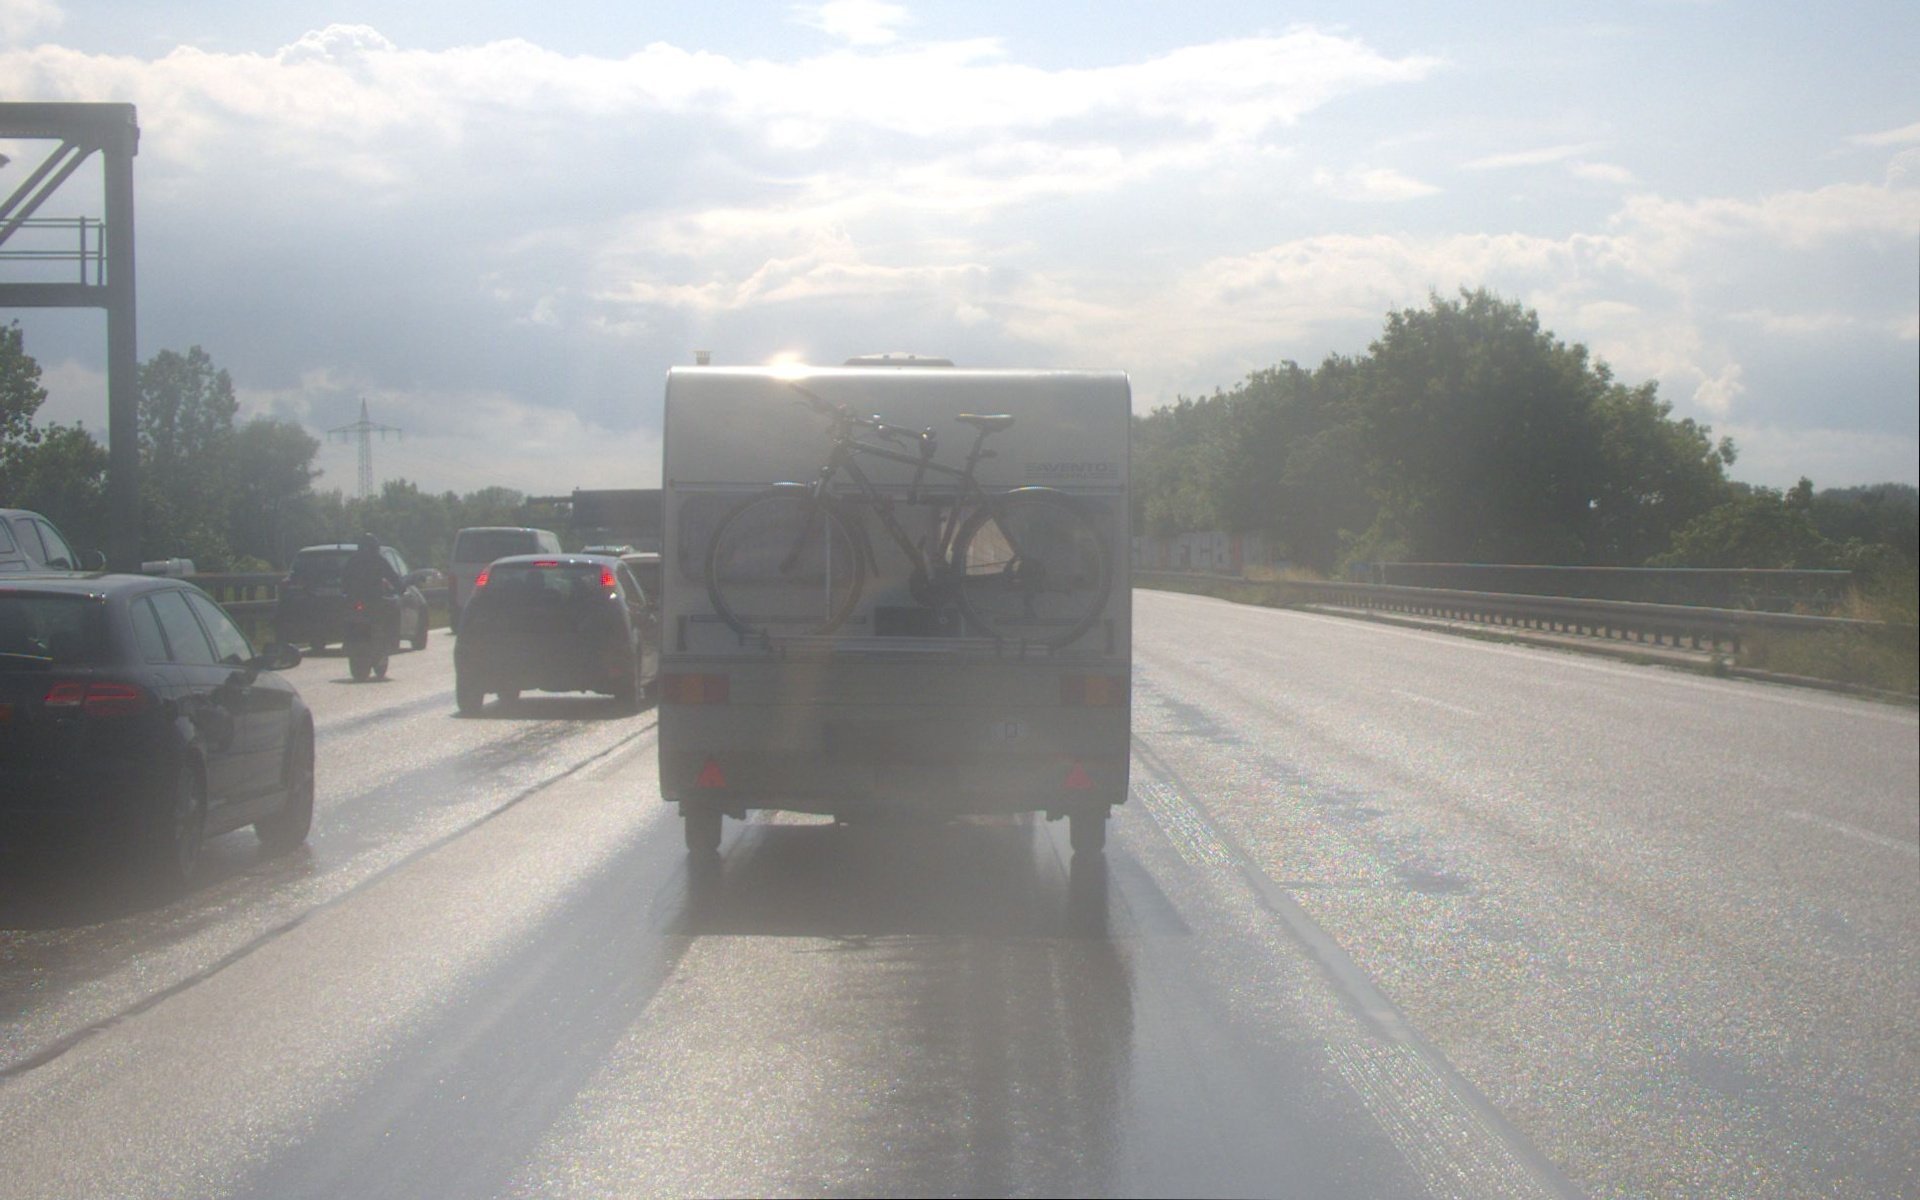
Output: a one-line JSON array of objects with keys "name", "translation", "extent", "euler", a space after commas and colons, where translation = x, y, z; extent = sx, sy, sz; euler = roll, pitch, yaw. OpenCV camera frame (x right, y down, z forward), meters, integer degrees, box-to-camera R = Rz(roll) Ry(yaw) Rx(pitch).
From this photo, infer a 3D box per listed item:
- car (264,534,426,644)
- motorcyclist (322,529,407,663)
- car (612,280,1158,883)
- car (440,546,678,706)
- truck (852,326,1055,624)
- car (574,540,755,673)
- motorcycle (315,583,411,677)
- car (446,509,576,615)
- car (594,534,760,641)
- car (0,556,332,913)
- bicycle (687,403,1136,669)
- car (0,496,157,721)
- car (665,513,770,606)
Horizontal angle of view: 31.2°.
[{"name": "car", "translation": [-9.131, -0.196, 51.307], "extent": [1.783, 1.573, 3.916], "euler": [0, 1, -1]}, {"name": "motorcyclist", "translation": [-6.908, -0.055, 39.916], "extent": [0.796, 1.532, 1.093], "euler": [0, 1, 0]}, {"name": "car", "translation": [-0.299, -0.109, 17.311], "extent": [2.410, 2.665, 4.000], "euler": [1, 1, 1]}, {"name": "car", "translation": [-3.809, 0.208, 33.220], "extent": [1.758, 1.438, 4.000], "euler": [0, 1, 1]}, {"name": "truck", "translation": [-0.159, -2.026, 58.760], "extent": [3.146, 4.610, 10.736], "euler": [0, 1, -1]}, {"name": "car", "translation": [-3.479, 0.046, 41.071], "extent": [1.863, 1.503, 4.000], "euler": [0, 1, -1]}, {"name": "motorcycle", "translation": [-6.902, 0.335, 39.836], "extent": [0.690, 1.024, 2.388], "euler": [0, 1, 0]}, {"name": "car", "translation": [-8.515, -0.742, 65.585], "extent": [1.848, 1.927, 5.016], "euler": [0, 1, 0]}, {"name": "car", "translation": [-3.990, -0.206, 49.098], "extent": [1.987, 1.453, 3.826], "euler": [0, 1, 1]}, {"name": "car", "translation": [-4.176, 0.525, 16.084], "extent": [1.750, 1.428, 4.054], "euler": [0, 1, 0]}, {"name": "bicycle", "translation": [-0.206, -0.280, 15.089], "extent": [1.934, 1.137, 0.384], "euler": [1, 0, 2]}, {"name": "car", "translation": [-8.681, 0.022, 30.393], "extent": [1.806, 1.838, 5.418], "euler": [0, 1, 1]}, {"name": "car", "translation": [-4.441, -0.759, 63.339], "extent": [1.689, 1.656, 3.641], "euler": [0, 1, 0]}]
